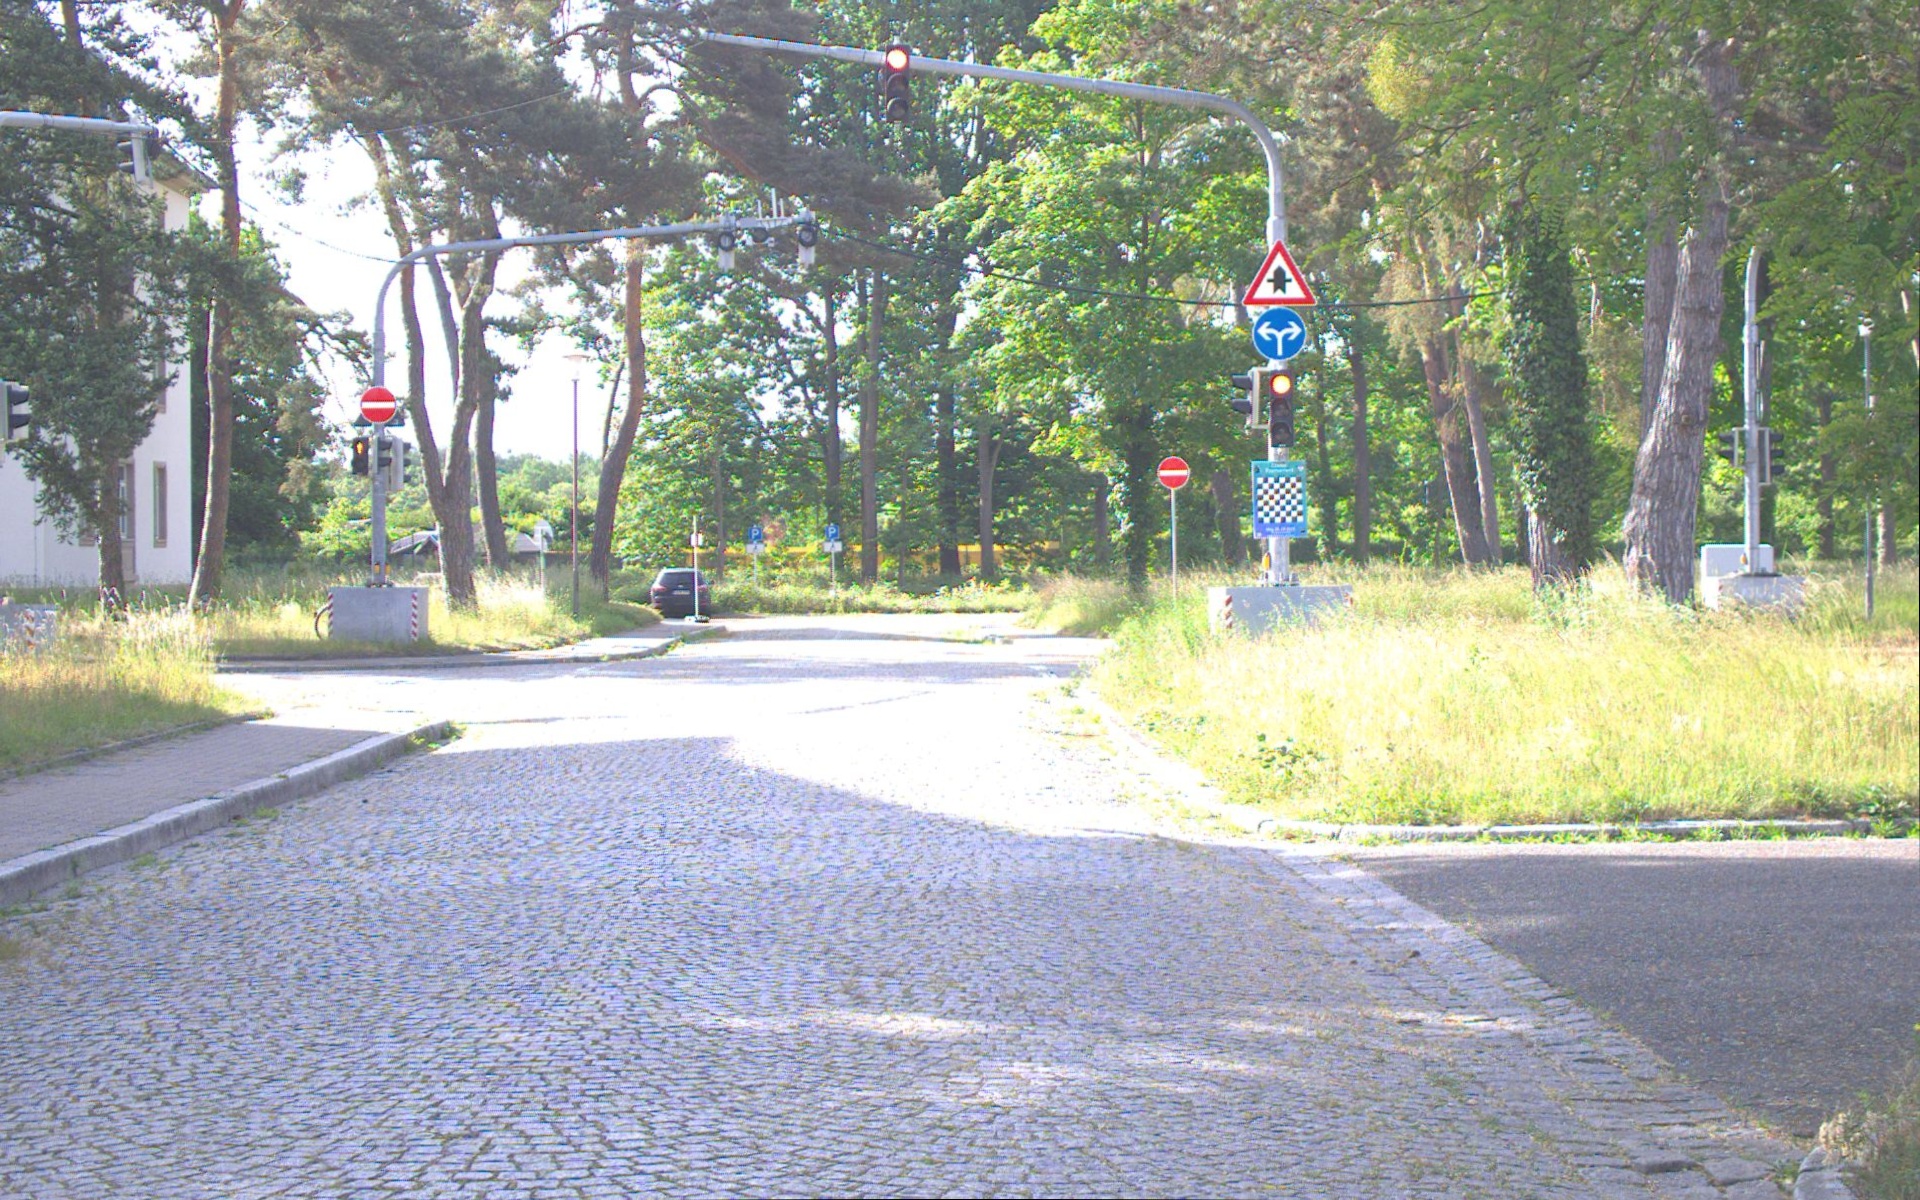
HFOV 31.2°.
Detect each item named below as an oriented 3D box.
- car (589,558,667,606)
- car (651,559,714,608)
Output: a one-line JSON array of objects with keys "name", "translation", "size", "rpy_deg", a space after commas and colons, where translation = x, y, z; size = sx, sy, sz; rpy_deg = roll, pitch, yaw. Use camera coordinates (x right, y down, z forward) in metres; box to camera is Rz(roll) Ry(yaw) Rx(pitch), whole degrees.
[{"name": "car", "translation": [-10.661, -0.595, 110.677], "size": [1.783, 1.485, 3.754], "rpy_deg": [0, 1, 6]}, {"name": "car", "translation": [-8.532, -0.526, 105.969], "size": [1.844, 1.481, 4.001], "rpy_deg": [0, 1, -4]}]
